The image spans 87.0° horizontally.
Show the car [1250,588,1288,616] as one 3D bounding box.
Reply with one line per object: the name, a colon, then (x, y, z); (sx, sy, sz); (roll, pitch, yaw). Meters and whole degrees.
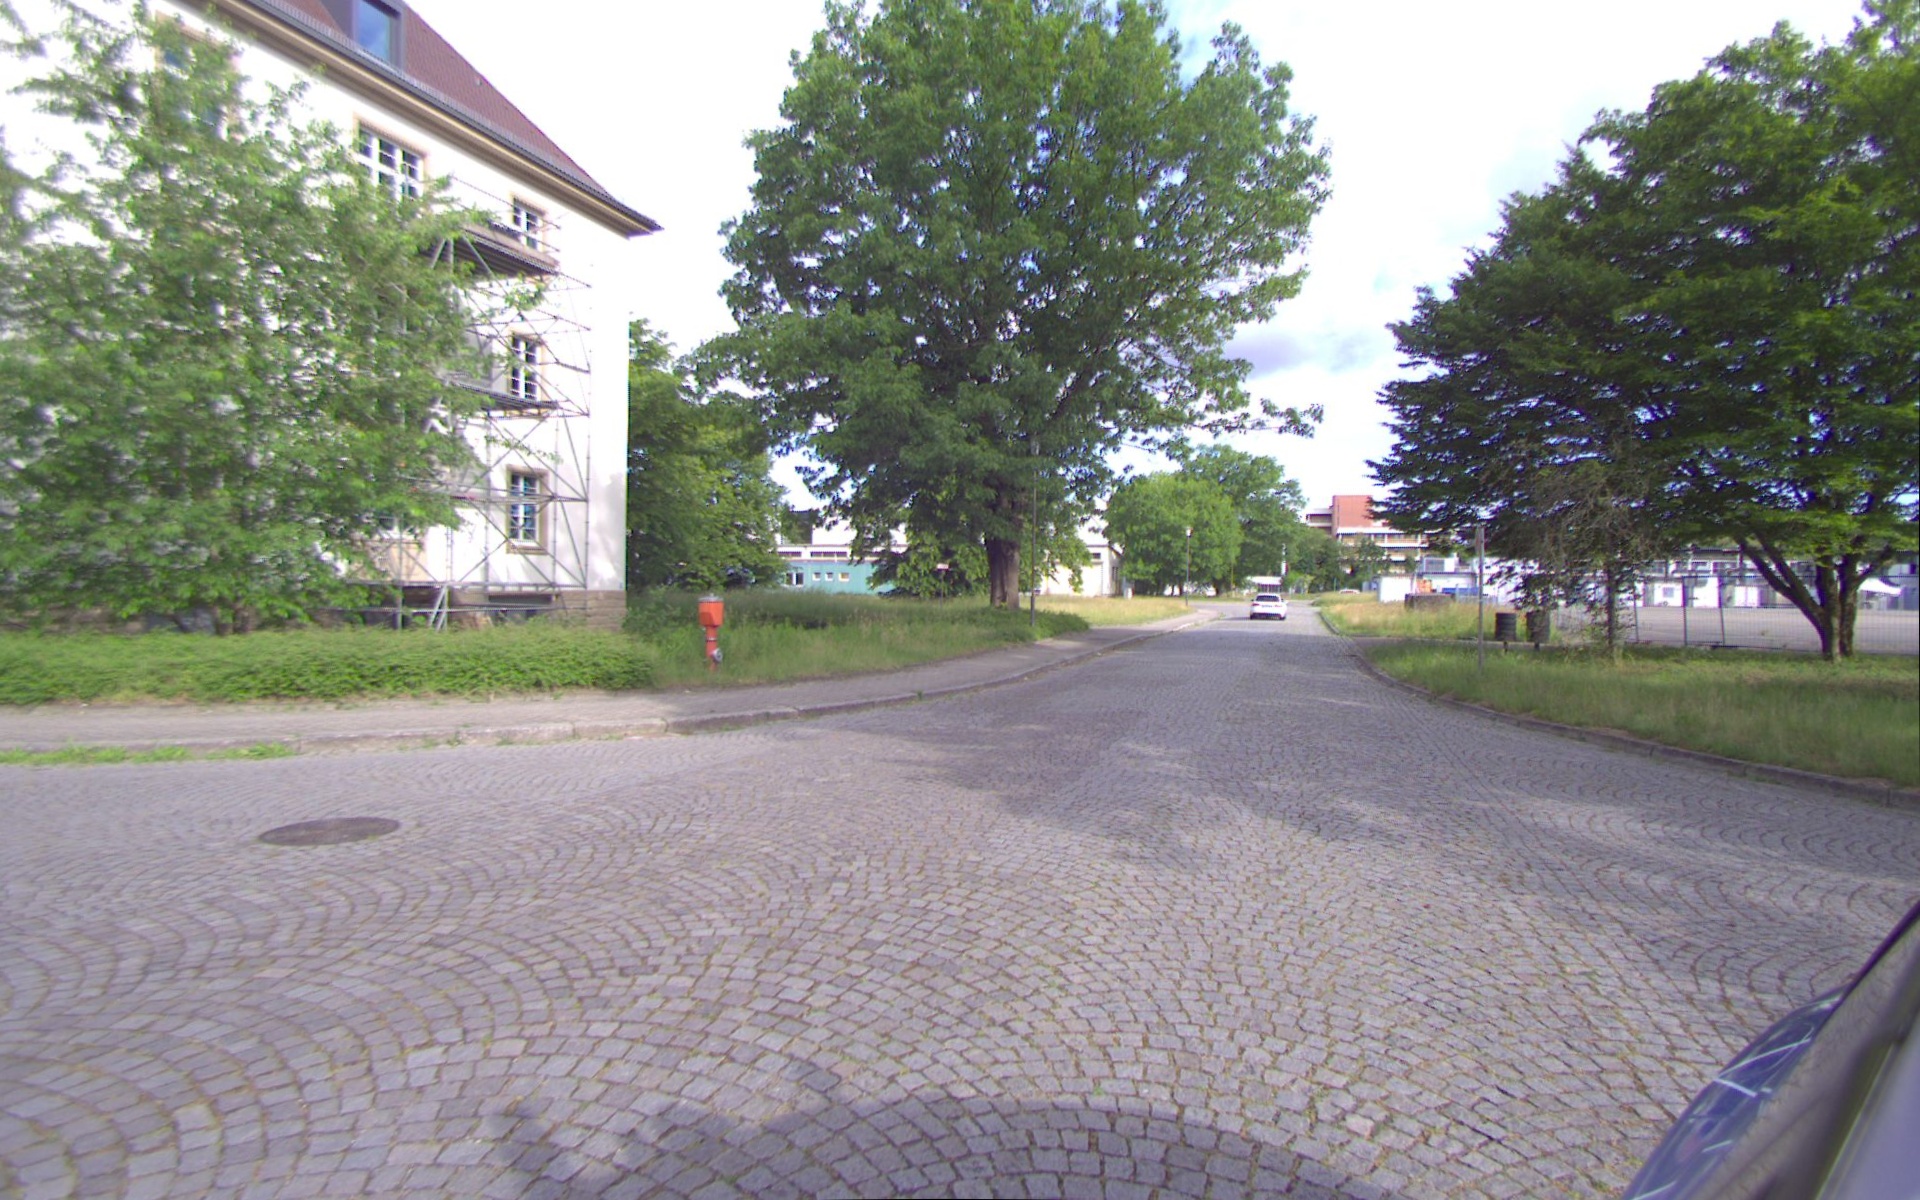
car: (16.759, 0.079, 54.726); (1.830, 1.455, 4.678); (0, 1, 18)
